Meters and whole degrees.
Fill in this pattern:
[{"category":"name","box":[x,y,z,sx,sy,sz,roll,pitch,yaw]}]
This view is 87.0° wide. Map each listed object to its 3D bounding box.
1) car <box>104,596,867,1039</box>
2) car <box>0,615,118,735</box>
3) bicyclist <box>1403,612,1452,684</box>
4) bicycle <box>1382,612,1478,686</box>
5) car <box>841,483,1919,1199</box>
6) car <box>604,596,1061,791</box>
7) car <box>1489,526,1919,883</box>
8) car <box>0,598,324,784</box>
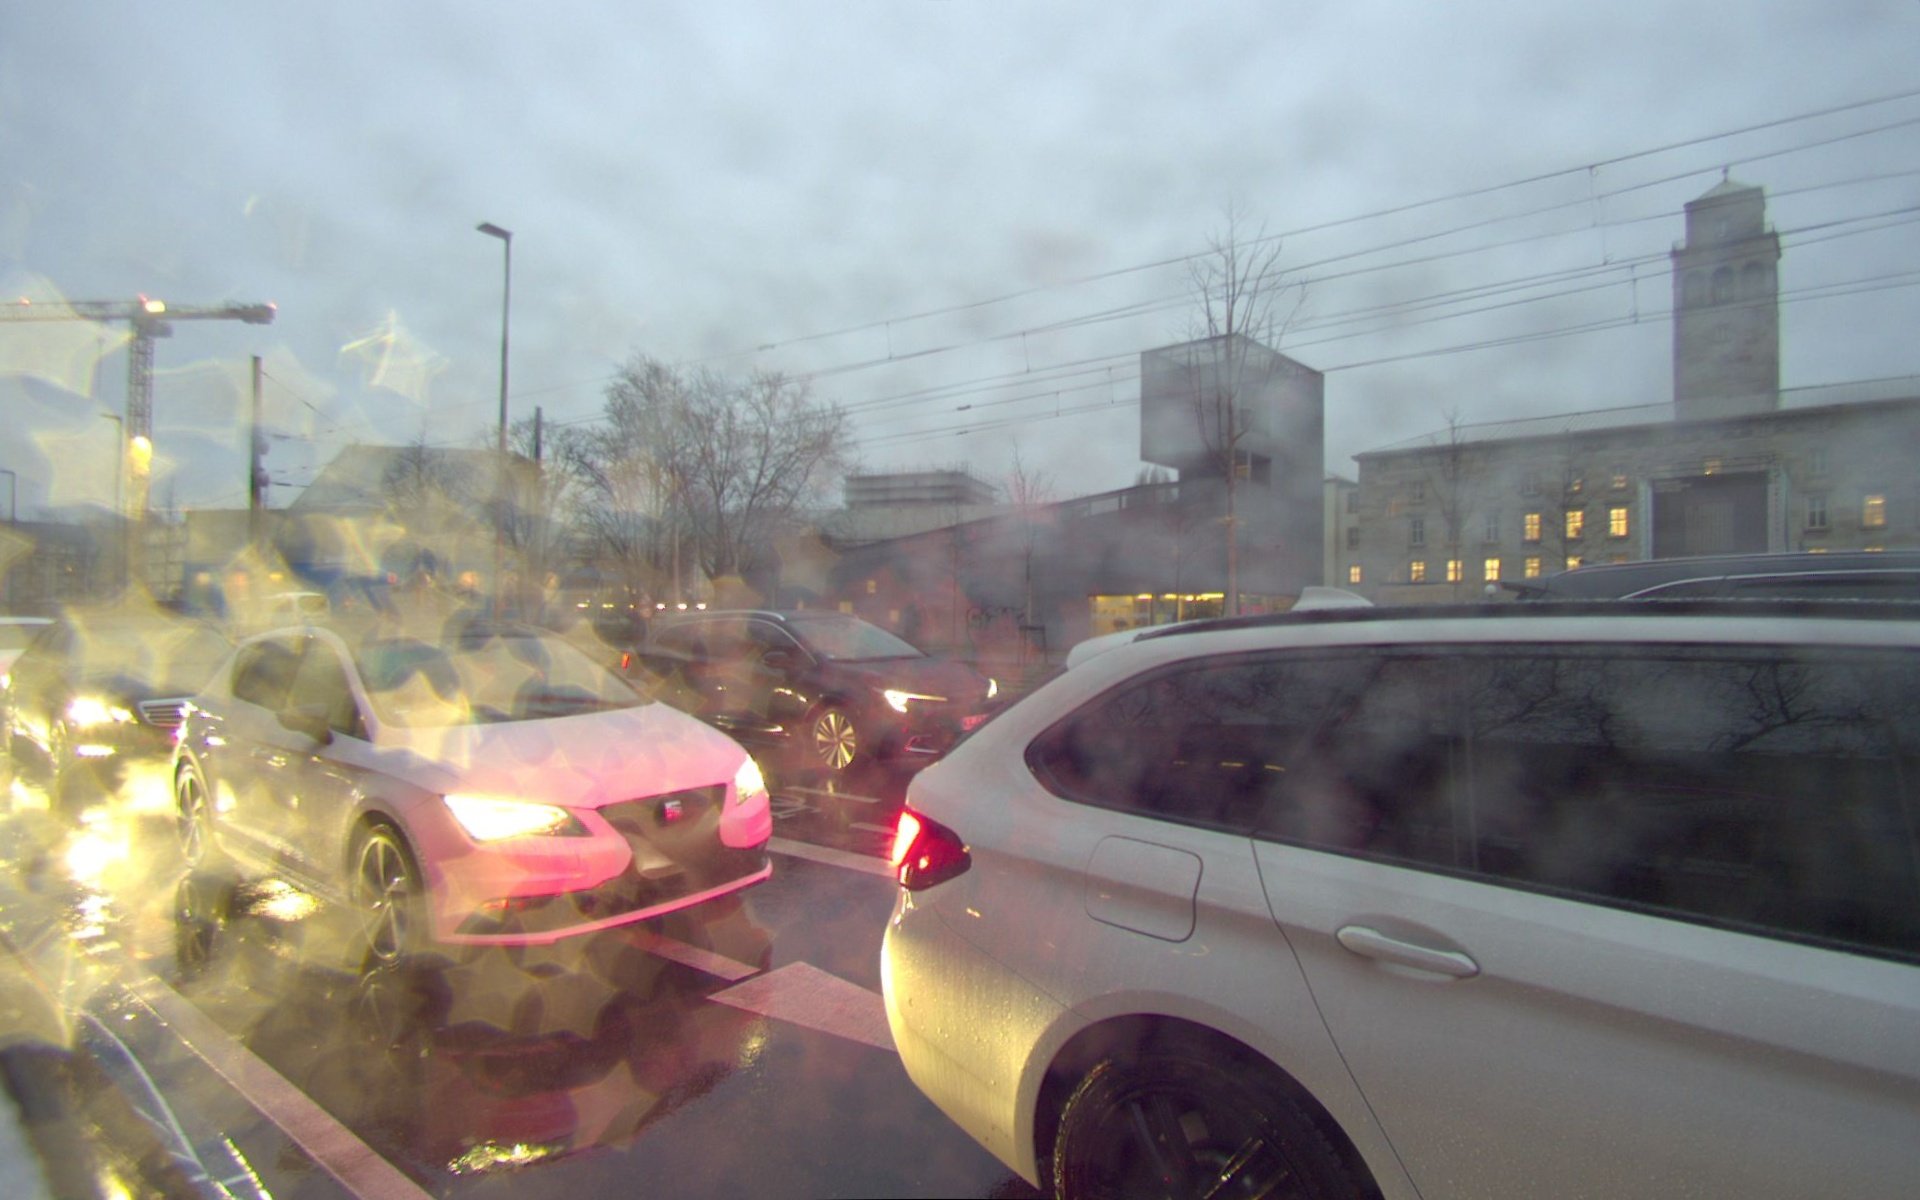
[{"category":"car","box":[-2.834,0.771,5.584,4.497,1.498,1.926,-1,0,37]},{"category":"car","box":[-14.243,1.037,15.179,3.998,1.586,1.882,-1,0,41]},{"category":"bicyclist","box":[11.724,1.182,25.392,0.960,1.746,0.754,1,1,38]},{"category":"bicycle","box":[11.760,1.188,25.373,2.061,1.746,0.754,1,1,39]},{"category":"car","box":[2.089,0.626,1.660,4.557,1.498,1.996,-1,-2,41]},{"category":"car","box":[-1.439,0.751,10.079,4.659,1.519,1.830,0,-1,39]},{"category":"car","box":[5.226,0.474,5.003,4.289,1.596,1.946,-1,-1,42]},{"category":"car","box":[-8.470,0.786,10.372,4.501,1.498,1.974,-1,-2,39]}]
